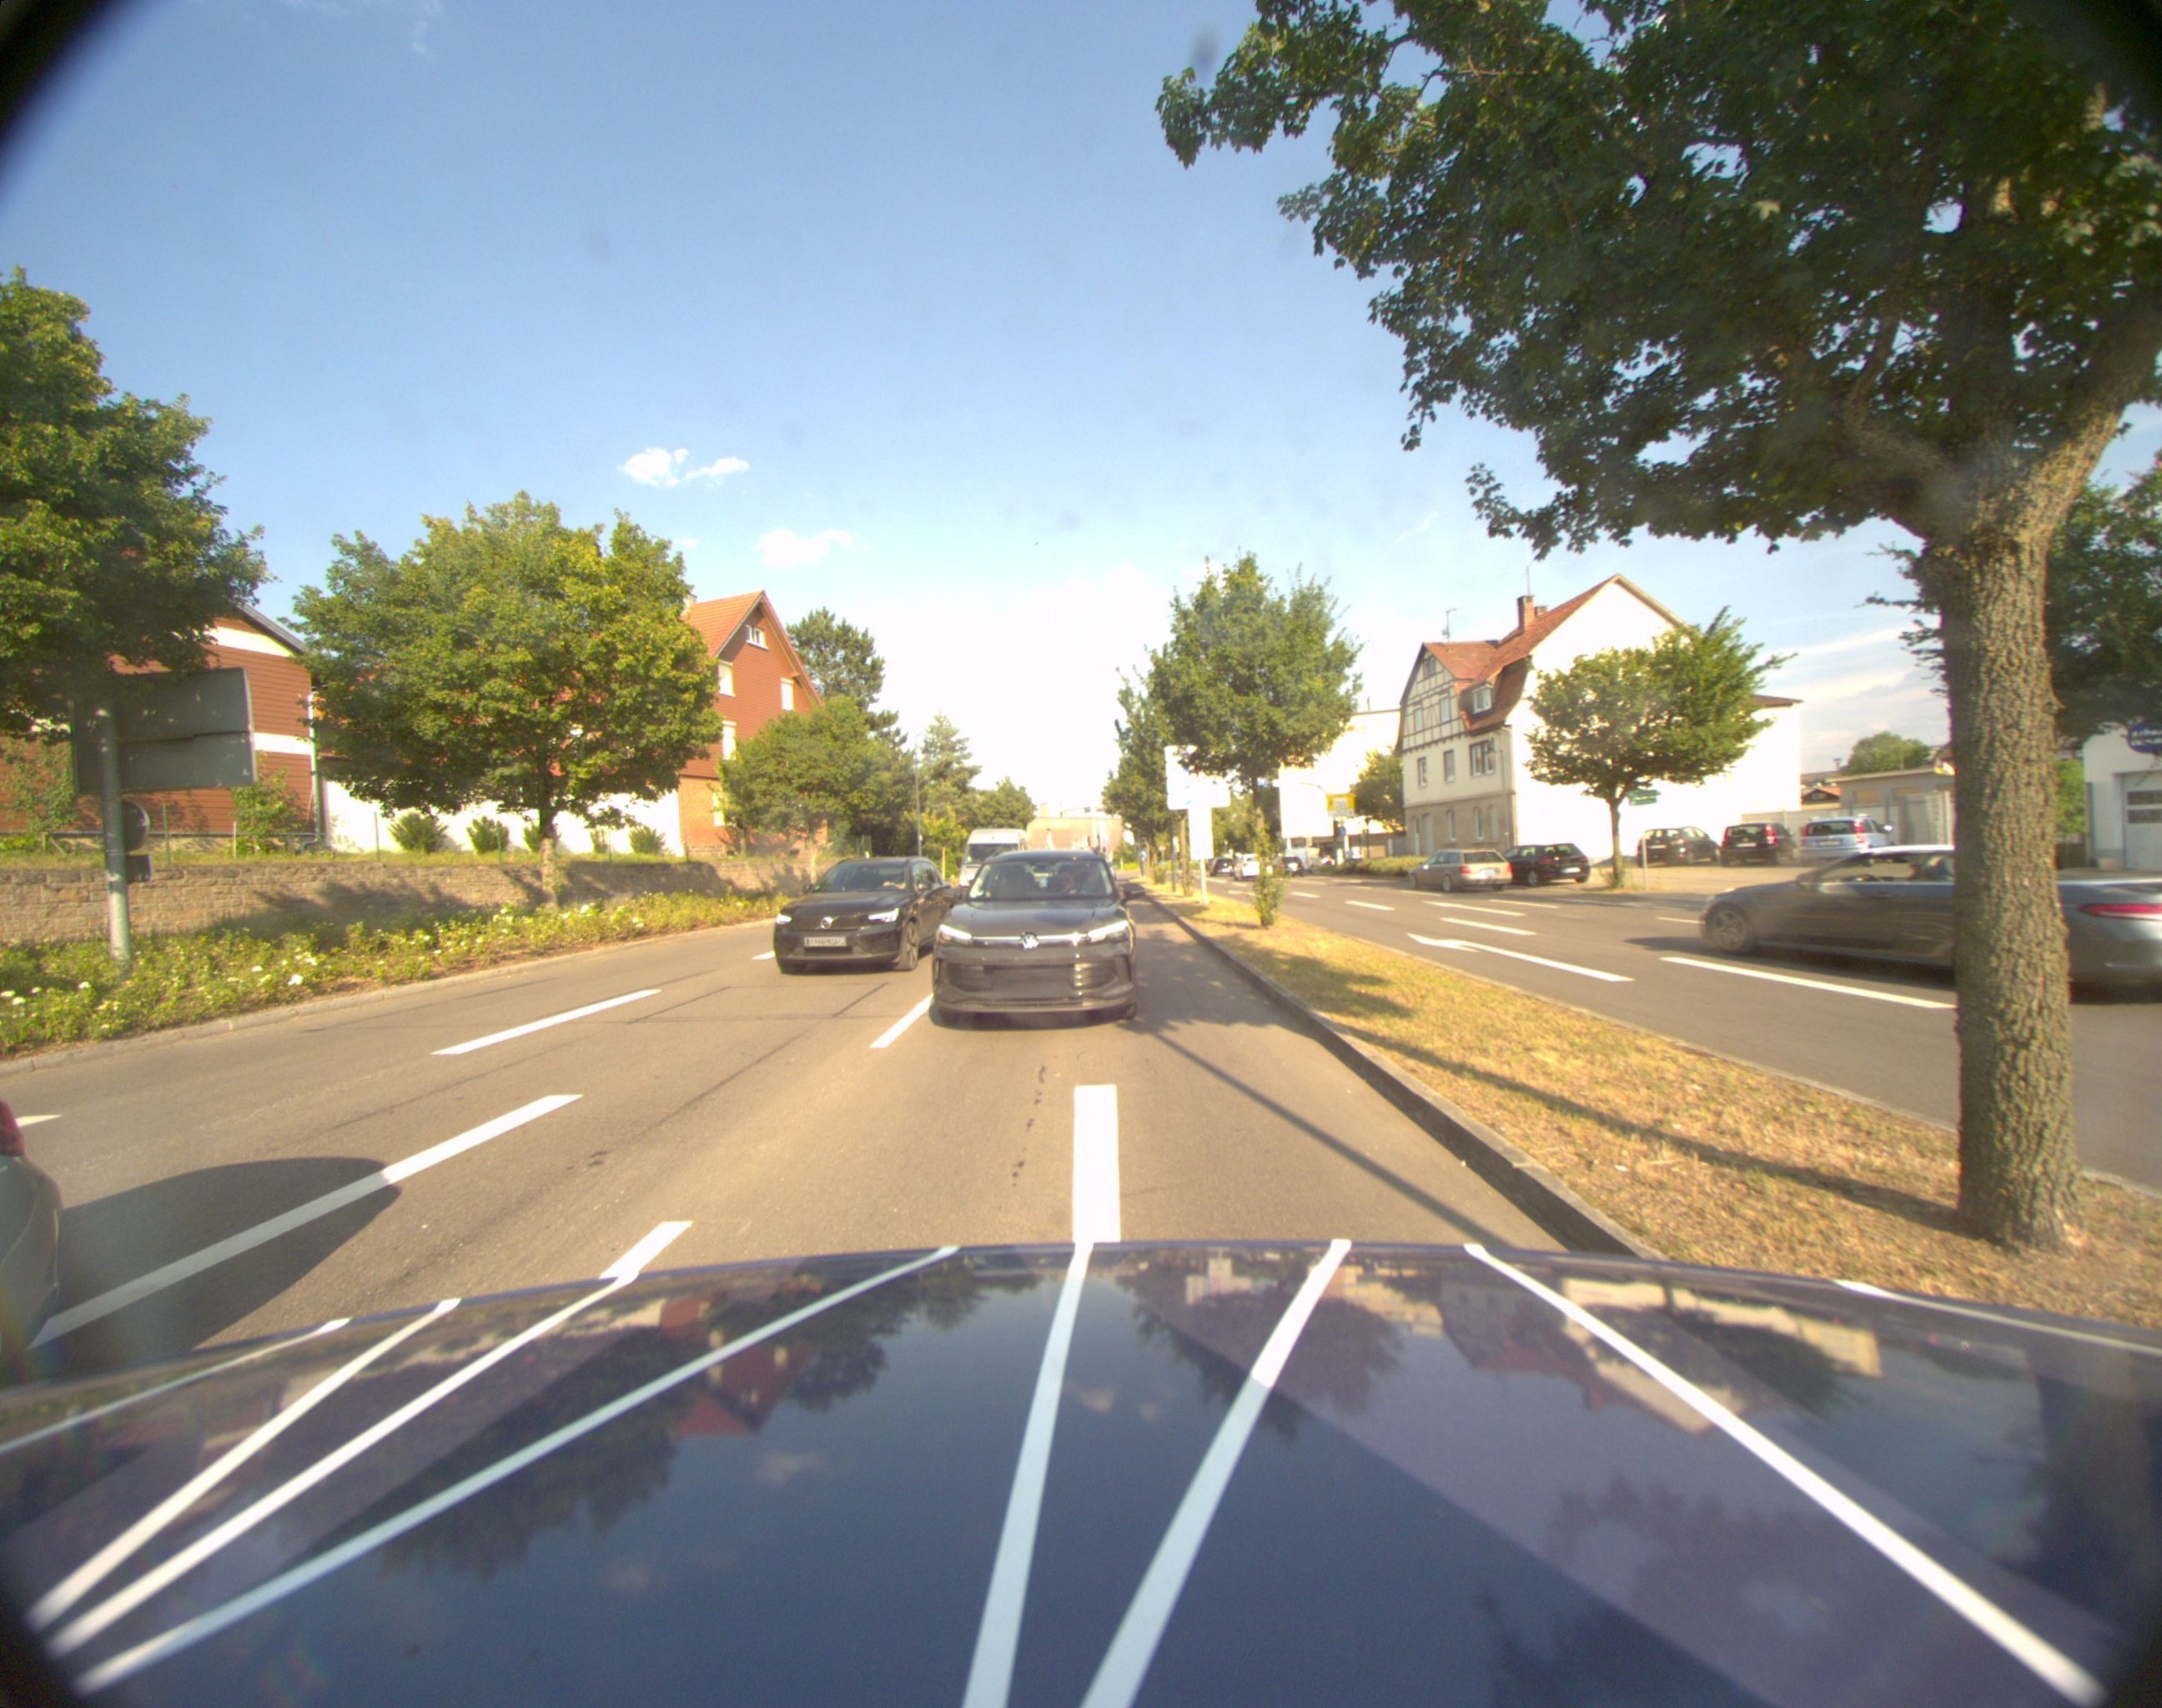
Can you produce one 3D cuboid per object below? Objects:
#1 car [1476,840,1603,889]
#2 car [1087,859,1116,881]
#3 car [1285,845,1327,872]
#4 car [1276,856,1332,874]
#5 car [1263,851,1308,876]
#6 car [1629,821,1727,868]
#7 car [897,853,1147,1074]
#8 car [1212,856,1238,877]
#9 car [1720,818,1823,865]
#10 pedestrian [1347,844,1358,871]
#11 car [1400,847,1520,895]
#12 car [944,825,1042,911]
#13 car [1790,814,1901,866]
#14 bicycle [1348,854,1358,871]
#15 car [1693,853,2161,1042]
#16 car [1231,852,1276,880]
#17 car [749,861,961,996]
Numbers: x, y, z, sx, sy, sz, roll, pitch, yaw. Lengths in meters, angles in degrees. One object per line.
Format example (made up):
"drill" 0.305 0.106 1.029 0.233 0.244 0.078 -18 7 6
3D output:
"car" 15.892 0.326 26.616 1.839 1.435 4.195 -5 0 1
"car" 1.451 1.100 52.704 1.765 1.346 4.132 -2 0 4
"car" 17.397 0.332 58.659 1.824 1.912 4.953 -2 0 32
"car" 20.211 0.997 68.963 4.660 1.346 1.768 -2 0 9
"car" 13.185 0.605 49.323 1.811 1.488 4.245 -2 0 1
"car" 23.246 -0.378 29.562 4.006 1.543 1.764 -4 1 -33
"car" -0.402 0.852 8.279 1.894 1.647 4.730 -2 0 1
"car" 10.946 0.920 57.967 1.772 1.442 4.110 -2 0 9
"car" 24.823 -0.460 27.269 4.006 1.543 1.763 -2 1 -33
"pedestrian" 20.035 0.238 56.091 0.698 1.971 0.589 -2 1 20
"car" 12.821 0.523 26.072 1.691 1.454 4.711 -2 0 0
"car" -2.830 0.416 26.055 2.370 2.532 6.192 -2 0 2
"car" 24.916 -0.462 24.734 4.006 1.543 1.763 -2 1 -33
"bicycle" 20.418 0.603 57.087 0.680 1.215 1.516 -2 1 20
"car" 9.039 0.698 7.884 1.784 1.341 4.478 -2 0 1
"car" 10.059 0.660 44.556 1.805 1.488 3.955 -2 0 1
"car" -3.212 0.969 11.750 1.886 1.599 4.128 -2 0 2
